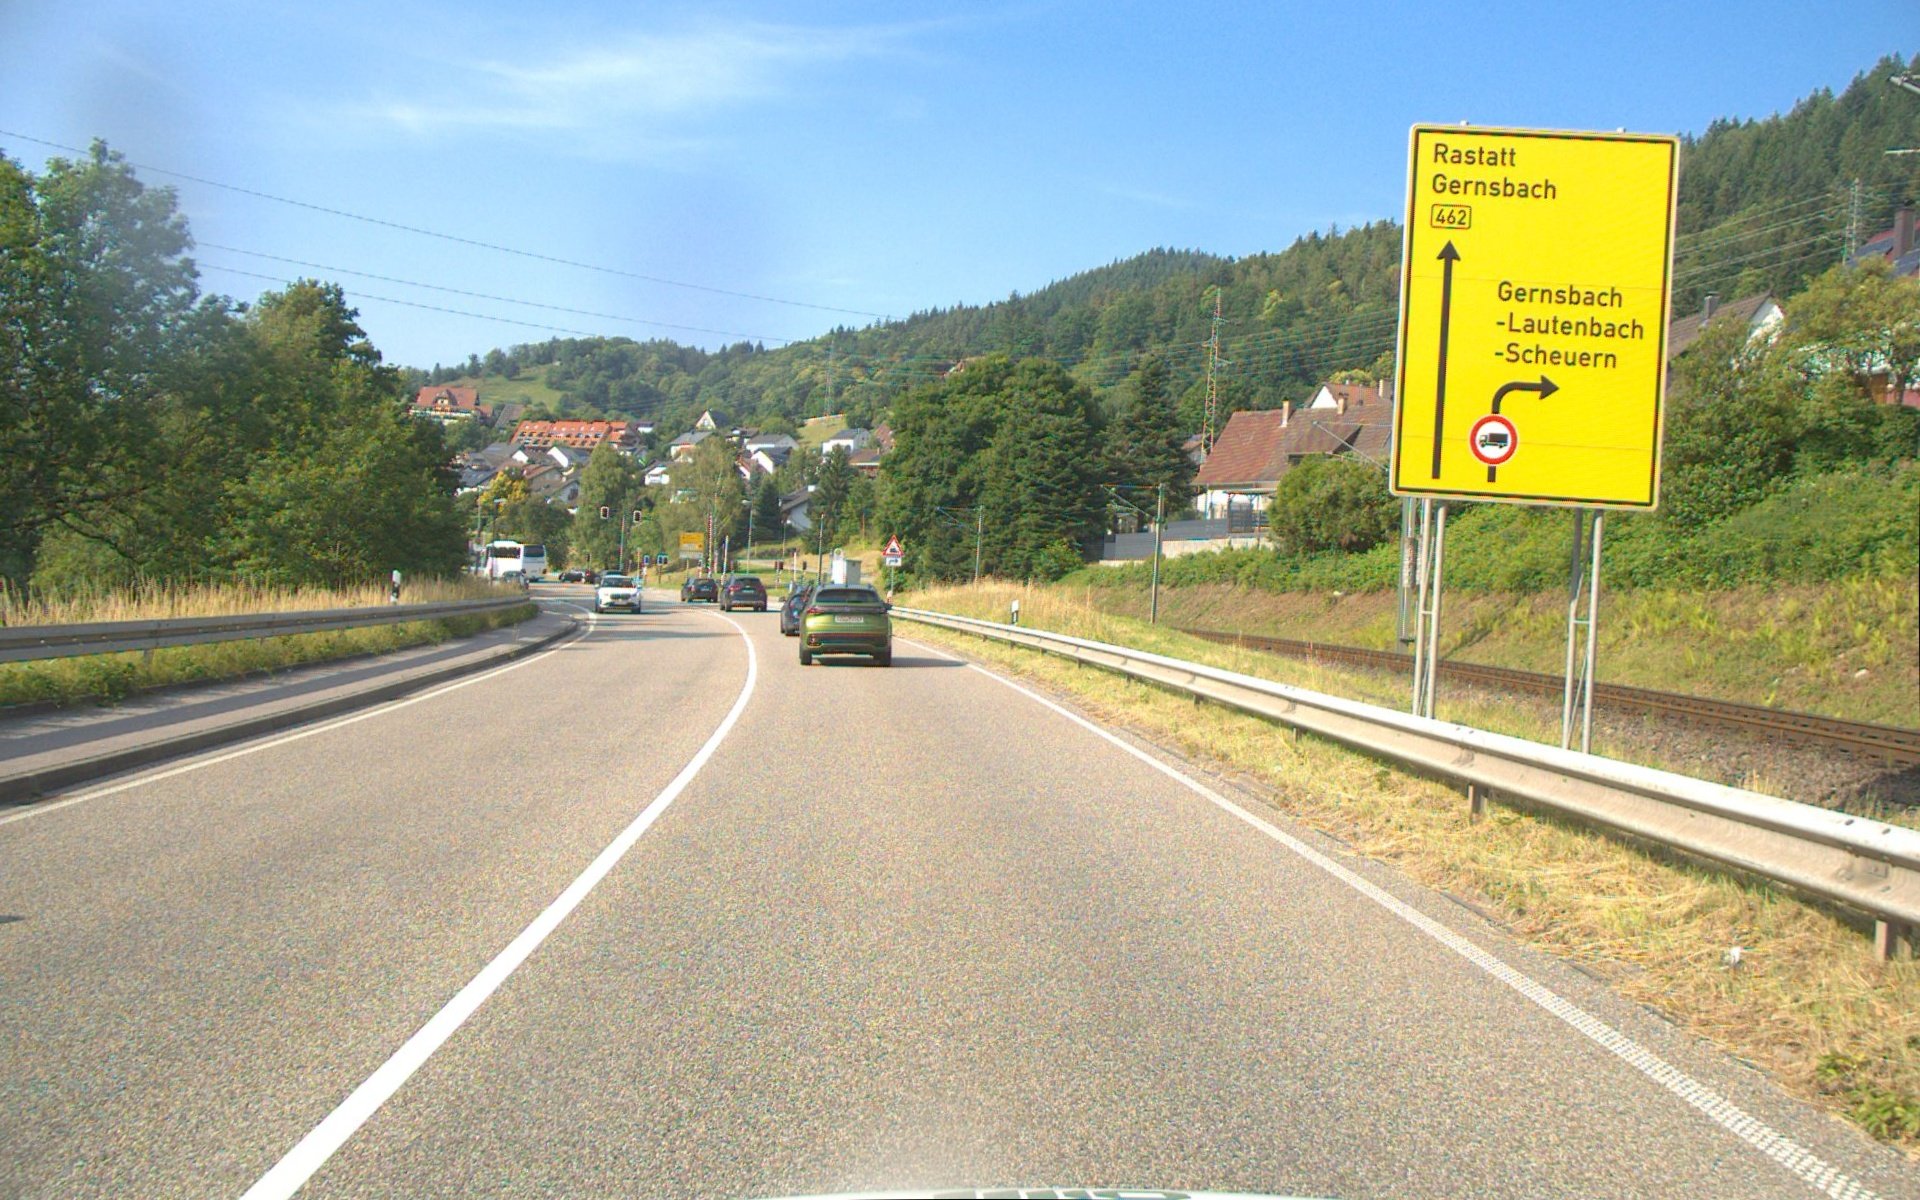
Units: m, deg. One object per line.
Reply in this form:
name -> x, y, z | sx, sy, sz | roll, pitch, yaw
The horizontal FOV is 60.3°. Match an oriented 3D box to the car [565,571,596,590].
car -> -38.755, -1.992, 168.962 | 1.973, 1.775, 3.959 | 2, 0, -31

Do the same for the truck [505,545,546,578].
truck -> -42.038, -3.766, 160.031 | 2.679, 3.137, 6.058 | -1, 2, -26

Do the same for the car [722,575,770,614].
car -> -9.979, -0.255, 76.811 | 1.847, 1.716, 3.988 | 2, 0, -12

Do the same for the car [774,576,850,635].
car -> -4.248, 0.126, 47.145 | 1.638, 1.586, 3.988 | 2, 0, -12

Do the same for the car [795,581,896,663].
car -> -2.259, 0.380, 31.783 | 1.682, 1.480, 3.993 | 0, 0, -8

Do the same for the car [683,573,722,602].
car -> -15.043, -0.763, 96.499 | 1.818, 1.553, 3.649 | 3, 0, -14

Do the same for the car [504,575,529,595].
car -> -34.881, -1.190, 130.123 | 1.860, 1.514, 3.983 | 0, 1, -16

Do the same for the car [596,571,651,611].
car -> -14.695, -0.397, 72.164 | 1.962, 1.658, 3.981 | 1, 1, -17
